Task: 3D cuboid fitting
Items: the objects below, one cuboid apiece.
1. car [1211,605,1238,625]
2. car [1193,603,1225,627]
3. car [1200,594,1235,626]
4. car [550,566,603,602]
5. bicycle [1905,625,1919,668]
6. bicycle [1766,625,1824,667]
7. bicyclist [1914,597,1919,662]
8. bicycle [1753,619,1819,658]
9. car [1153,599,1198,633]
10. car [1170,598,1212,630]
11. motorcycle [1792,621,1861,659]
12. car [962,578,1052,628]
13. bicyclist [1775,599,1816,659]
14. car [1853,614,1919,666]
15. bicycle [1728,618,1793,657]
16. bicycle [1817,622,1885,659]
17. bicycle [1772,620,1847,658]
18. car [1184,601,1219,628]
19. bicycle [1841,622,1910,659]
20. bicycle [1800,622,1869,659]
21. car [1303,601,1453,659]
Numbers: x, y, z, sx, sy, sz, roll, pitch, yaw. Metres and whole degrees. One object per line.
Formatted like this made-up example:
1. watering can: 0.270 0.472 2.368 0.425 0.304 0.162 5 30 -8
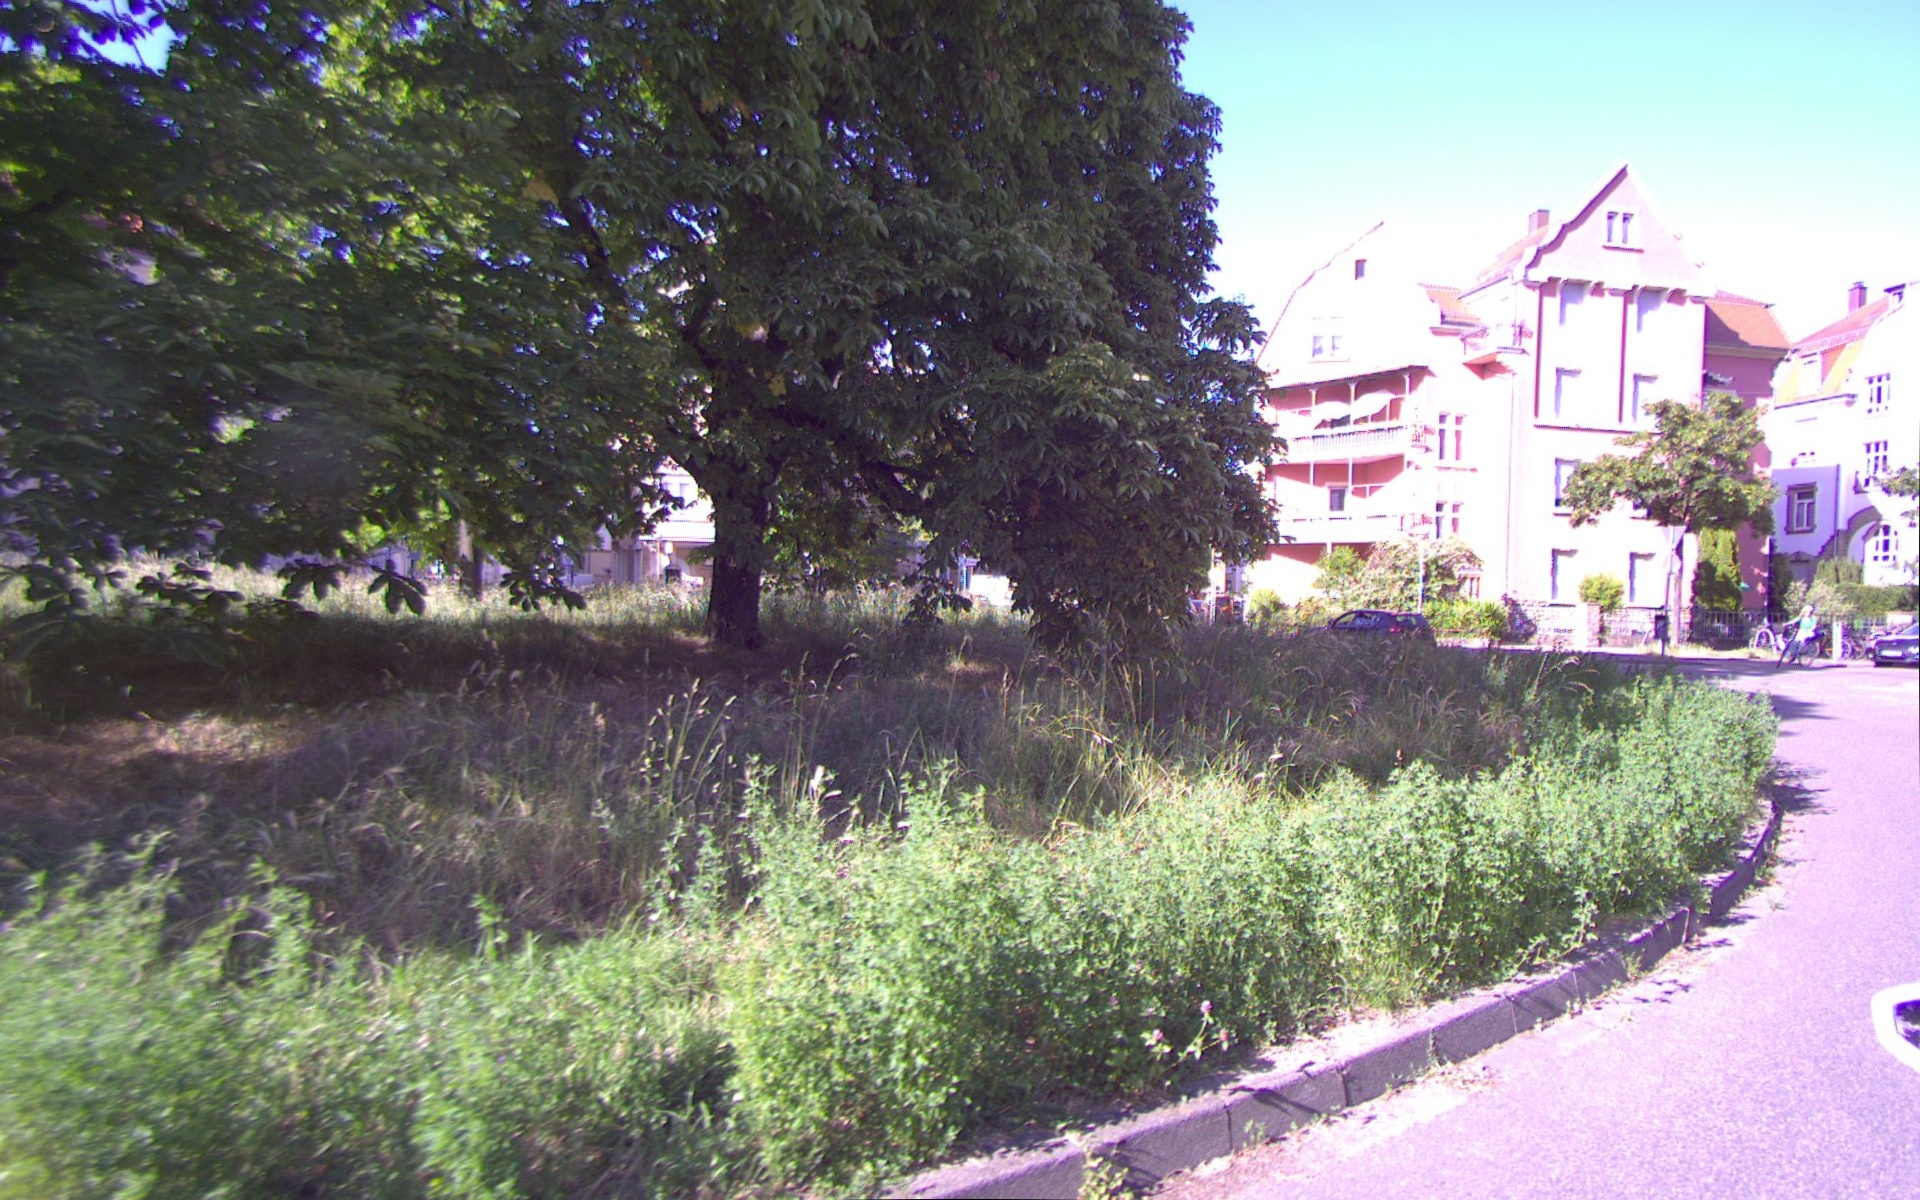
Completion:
1. car: 20.109 1.089 76.270 1.655 1.400 3.497 3 1 19
2. car: 15.616 0.931 62.884 1.655 1.400 3.281 3 1 19
3. car: 17.920 0.675 69.801 1.904 2.072 4.275 3 1 19
4. car: -22.318 -0.928 58.343 2.117 1.934 4.523 1 0 -31
5. bicycle: 25.936 1.262 26.677 1.694 1.122 0.642 2 -1 -25
6. bicycle: 23.000 1.265 27.655 1.840 1.122 0.591 1 0 -28
7. bicyclist: 25.934 0.791 26.674 0.713 1.737 0.642 2 0 -24
8. bicycle: 27.328 1.261 33.268 0.536 1.130 1.724 1 2 -8
9. car: 10.457 0.749 48.518 1.655 1.466 3.546 3 1 19
10. car: 12.270 0.718 53.228 1.655 1.583 4.295 3 1 19
11. motorcycle: 28.799 1.327 33.410 0.492 1.122 1.721 1 2 -15
12. car: 2.659 0.137 58.565 2.079 2.635 6.324 2 1 -30
13. bicyclist: 23.011 0.796 27.662 0.794 1.602 0.591 1 0 -28
14. car: 29.539 1.223 30.306 4.265 1.503 1.805 1 -2 -14
15. bicycle: 26.384 1.218 33.146 0.536 1.130 1.724 1 2 -8
16. bicycle: 29.918 1.351 33.758 0.492 1.122 1.722 1 2 -12
17. bicycle: 28.134 1.281 33.298 0.494 1.122 1.818 1 2 -24
18. car: 13.995 0.825 58.116 1.655 1.400 3.281 3 1 19
19. bicycle: 30.868 1.363 33.903 0.507 1.122 1.722 1 2 -12
20. bicycle: 29.278 1.336 33.674 0.492 1.122 1.721 1 2 -15
21. car: 11.384 0.769 27.643 1.838 1.438 3.990 1 0 -13
